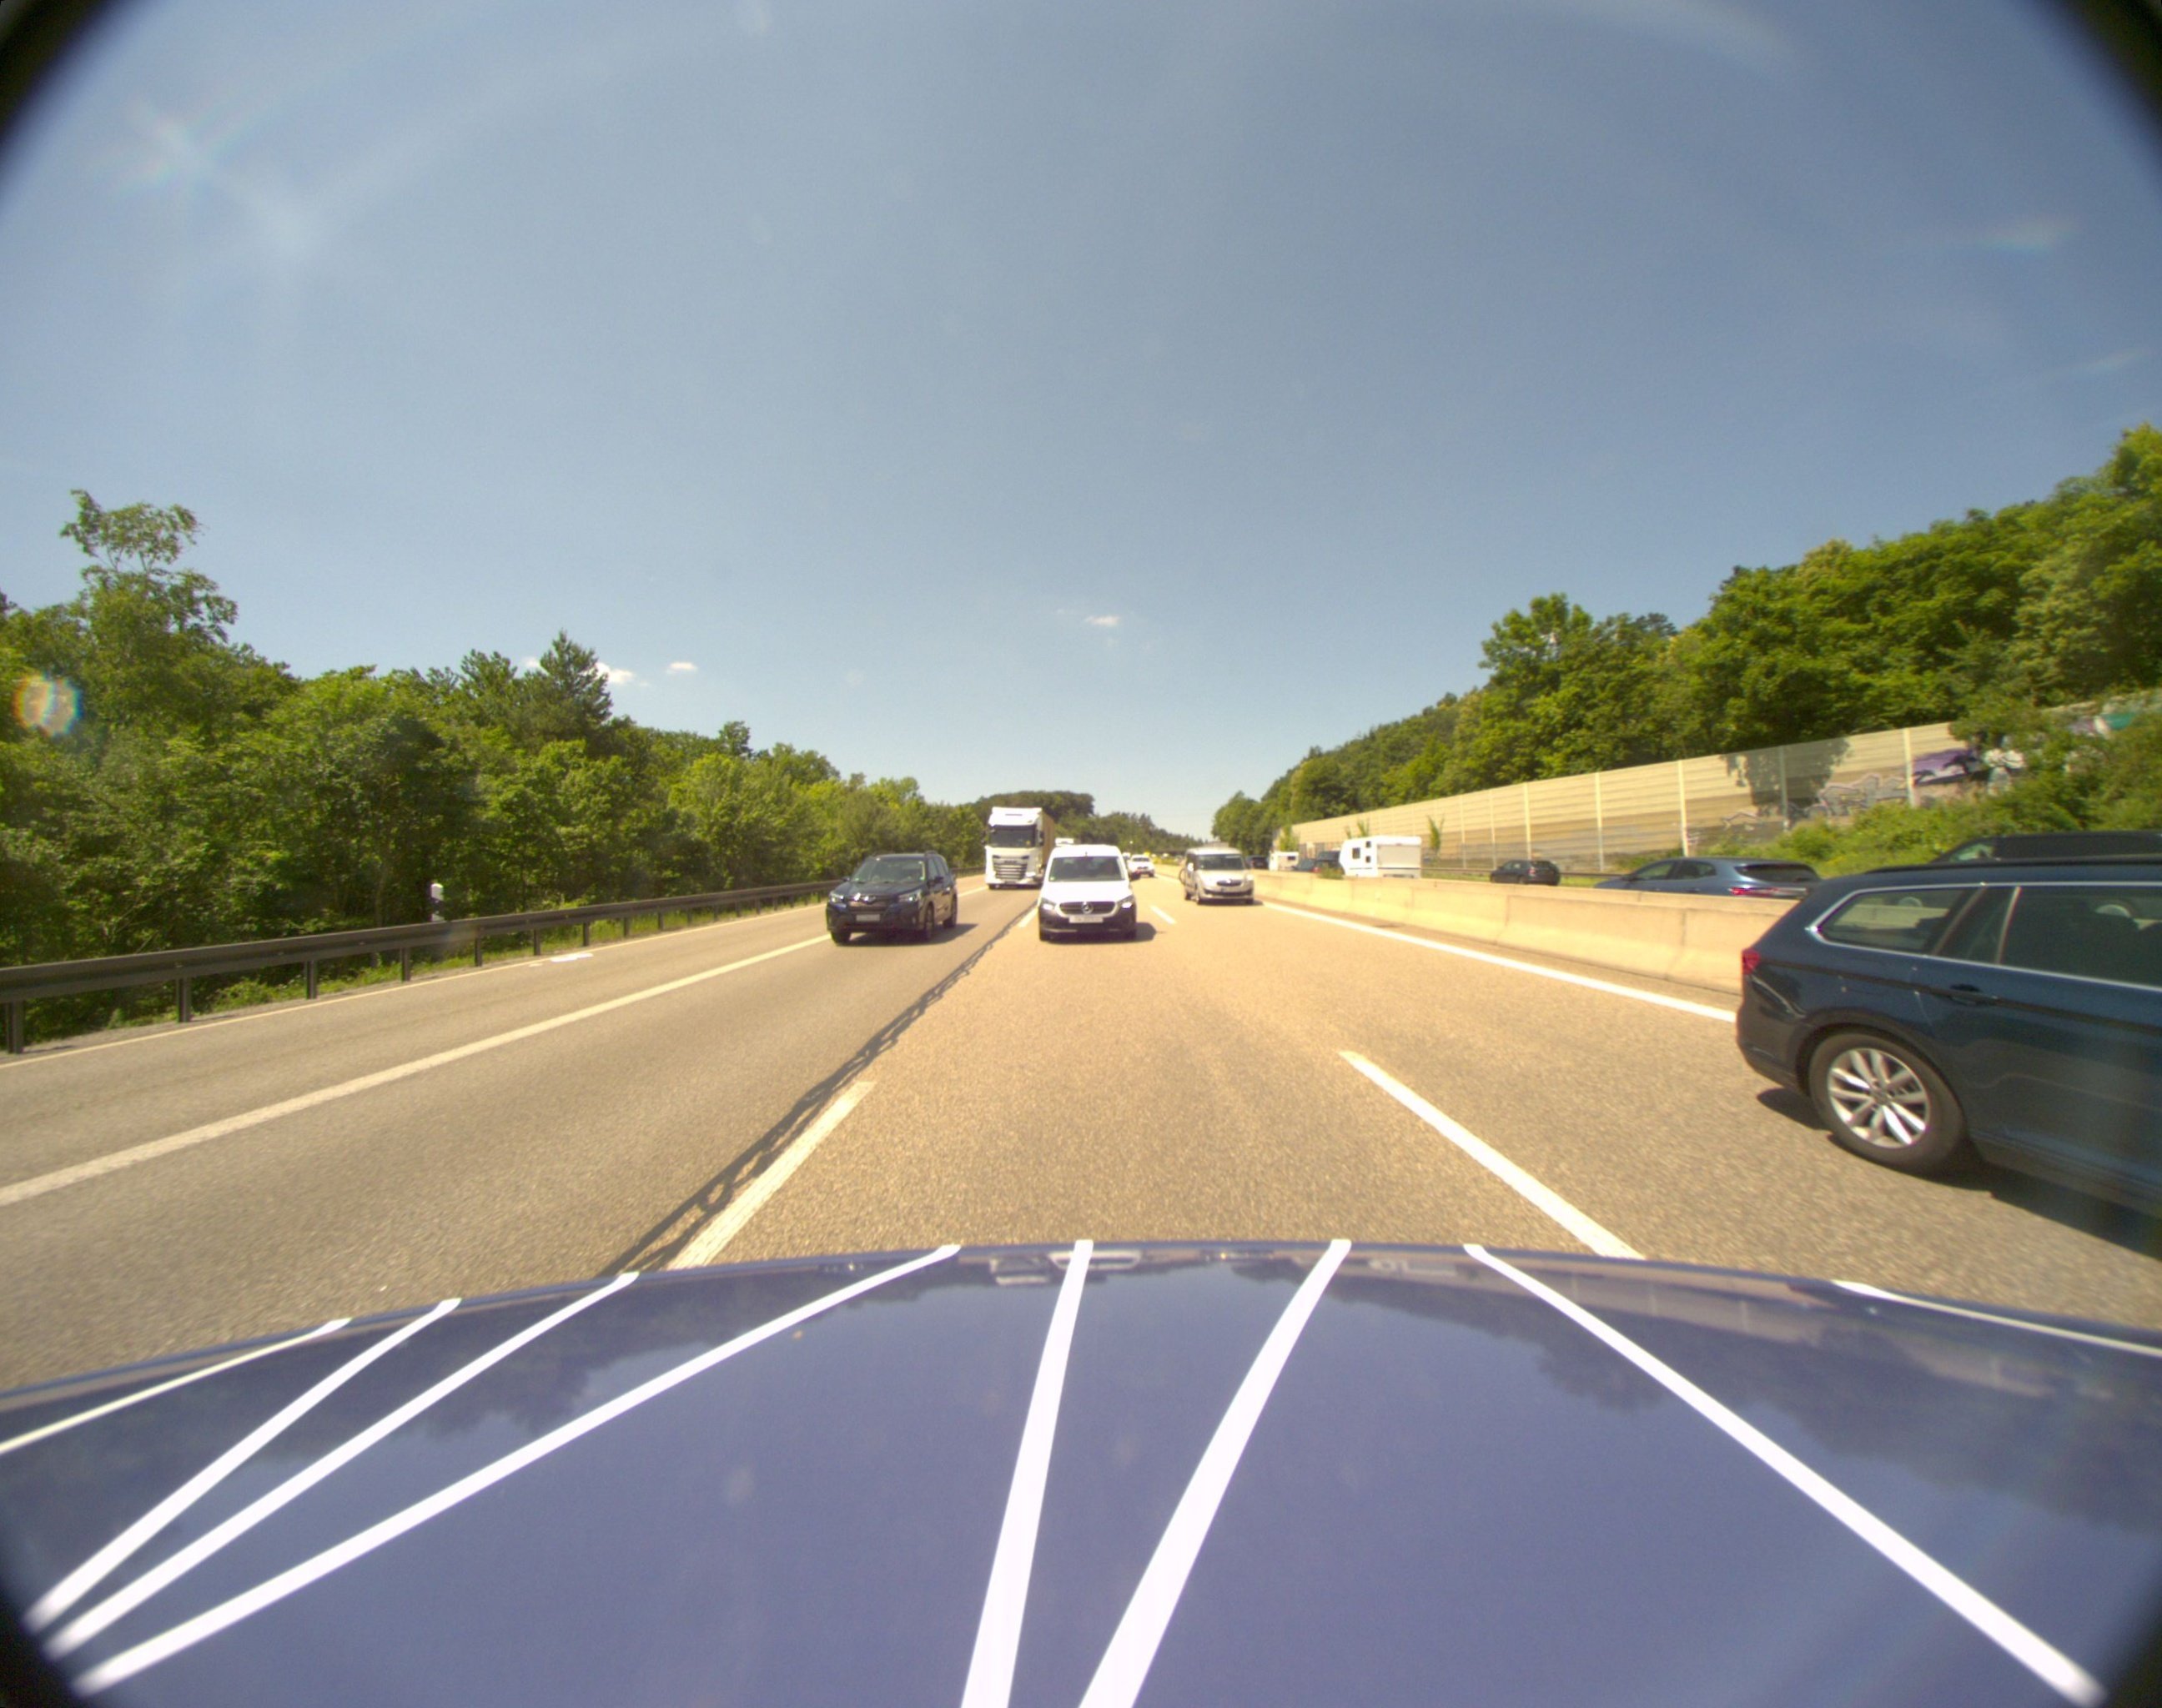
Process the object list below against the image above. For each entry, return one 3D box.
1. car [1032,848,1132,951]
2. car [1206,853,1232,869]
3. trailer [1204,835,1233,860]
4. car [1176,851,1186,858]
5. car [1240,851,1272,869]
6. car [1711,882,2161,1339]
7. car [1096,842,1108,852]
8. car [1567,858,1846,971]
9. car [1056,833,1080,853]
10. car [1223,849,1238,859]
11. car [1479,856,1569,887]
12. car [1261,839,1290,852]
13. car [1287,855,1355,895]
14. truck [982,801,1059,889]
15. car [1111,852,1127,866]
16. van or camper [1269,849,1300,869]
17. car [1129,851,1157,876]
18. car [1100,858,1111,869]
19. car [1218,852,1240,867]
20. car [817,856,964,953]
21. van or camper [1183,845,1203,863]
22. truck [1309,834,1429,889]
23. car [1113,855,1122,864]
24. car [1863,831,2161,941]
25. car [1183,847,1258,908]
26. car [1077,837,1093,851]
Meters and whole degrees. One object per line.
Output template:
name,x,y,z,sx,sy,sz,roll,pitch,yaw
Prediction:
car,0.156,0.775,15.370,1.729,1.760,4.314,0,1,4
car,12.545,0.618,69.407,1.618,1.368,4.270,-1,0,1
trailer,22.472,-1.089,125.196,2.819,3.885,13.827,0,1,2
car,26.109,0.186,198.086,1.926,1.856,5.304,-1,0,1
car,16.378,0.549,71.481,1.930,1.630,4.928,-1,0,1
car,4.397,0.875,1.927,1.737,1.419,4.730,0,0,1
car,5.181,-1.676,184.332,2.721,2.534,5.941,0,1,3
car,11.398,0.983,14.309,1.777,1.761,4.183,-1,0,-1
car,-1.633,-1.367,98.831,2.721,2.534,5.941,0,1,3
car,27.224,-0.050,138.826,1.814,1.800,5.107,0,0,1
car,22.468,0.860,38.779,1.952,1.427,4.693,0,1,1
car,20.275,-0.863,79.356,1.805,1.339,4.723,-1,0,1
car,11.715,0.979,37.419,1.952,1.791,4.693,0,1,1
truck,-3.101,-0.433,43.869,2.790,4.144,16.268,0,0,1
car,5.088,0.609,101.822,1.998,1.783,4.000,-1,0,1
van or camper,19.685,0.469,73.675,2.081,1.965,3.705,0,0,0
car,4.682,0.723,57.675,1.998,1.827,4.001,0,0,3
car,4.443,1.695,136.660,1.902,2.002,4.000,0,0,2
car,16.631,0.607,85.321,1.697,1.673,4.196,-1,0,1
car,-3.678,0.898,15.482,1.816,1.658,4.203,0,1,2
van or camper,18.009,-0.043,122.275,2.275,2.720,6.805,0,1,0
truck,15.846,0.315,43.028,2.534,2.673,11.627,0,1,1
car,8.421,1.345,173.724,1.998,2.002,4.001,0,0,3
car,18.564,0.515,14.716,1.739,1.799,4.863,-1,0,-2
car,4.452,0.692,24.766,1.780,1.833,4.000,0,0,1
car,0.731,-1.775,139.833,2.721,2.534,5.941,0,1,3
